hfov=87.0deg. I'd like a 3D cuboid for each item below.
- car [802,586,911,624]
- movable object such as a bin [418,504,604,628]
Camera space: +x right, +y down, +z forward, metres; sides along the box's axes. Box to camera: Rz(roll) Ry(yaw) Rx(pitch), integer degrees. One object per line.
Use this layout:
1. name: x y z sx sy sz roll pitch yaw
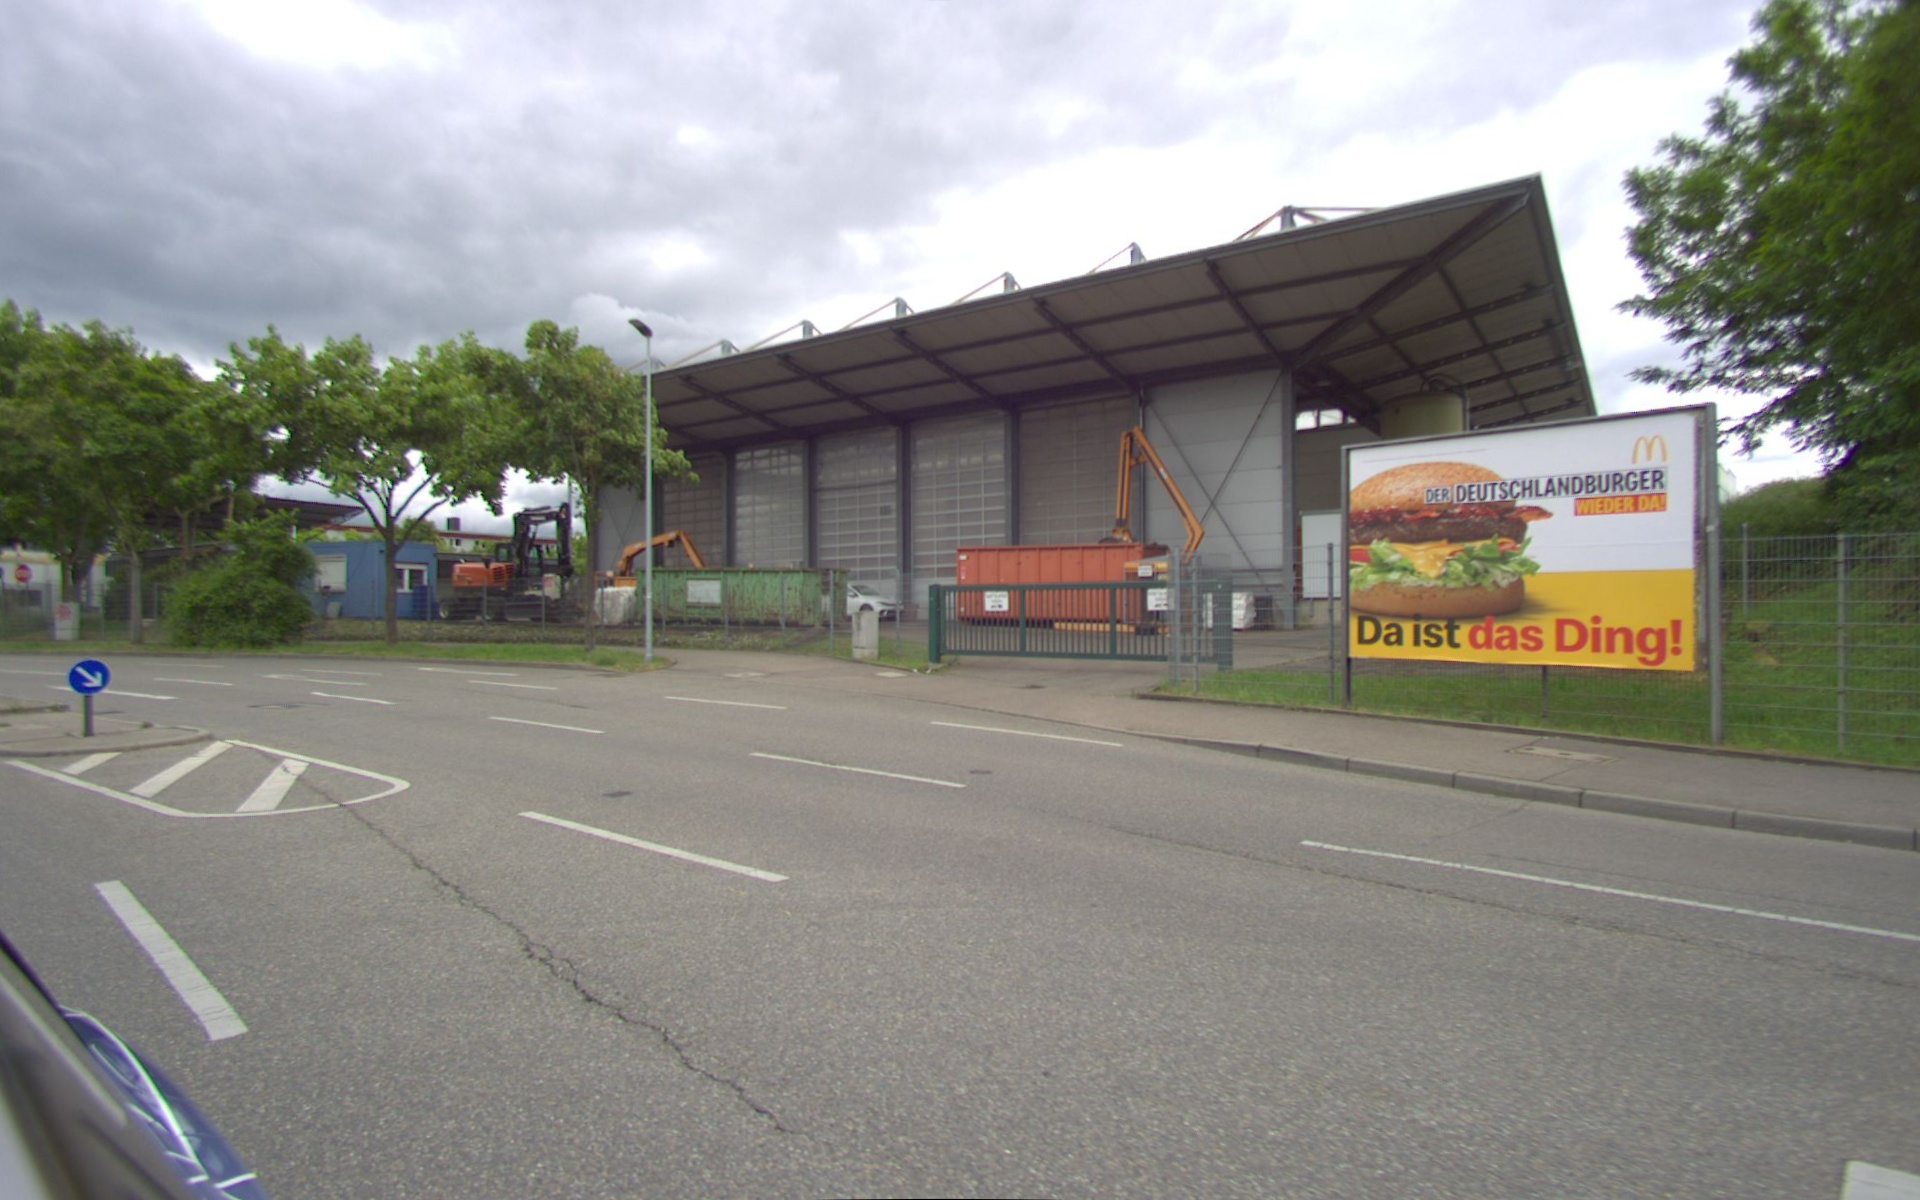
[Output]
1. car: -3.939 0.210 38.386 3.990 1.384 1.718 -1 -1 35
2. movable object such as a bin: -16.280 -1.081 36.657 6.520 4.122 2.709 -1 -2 27
